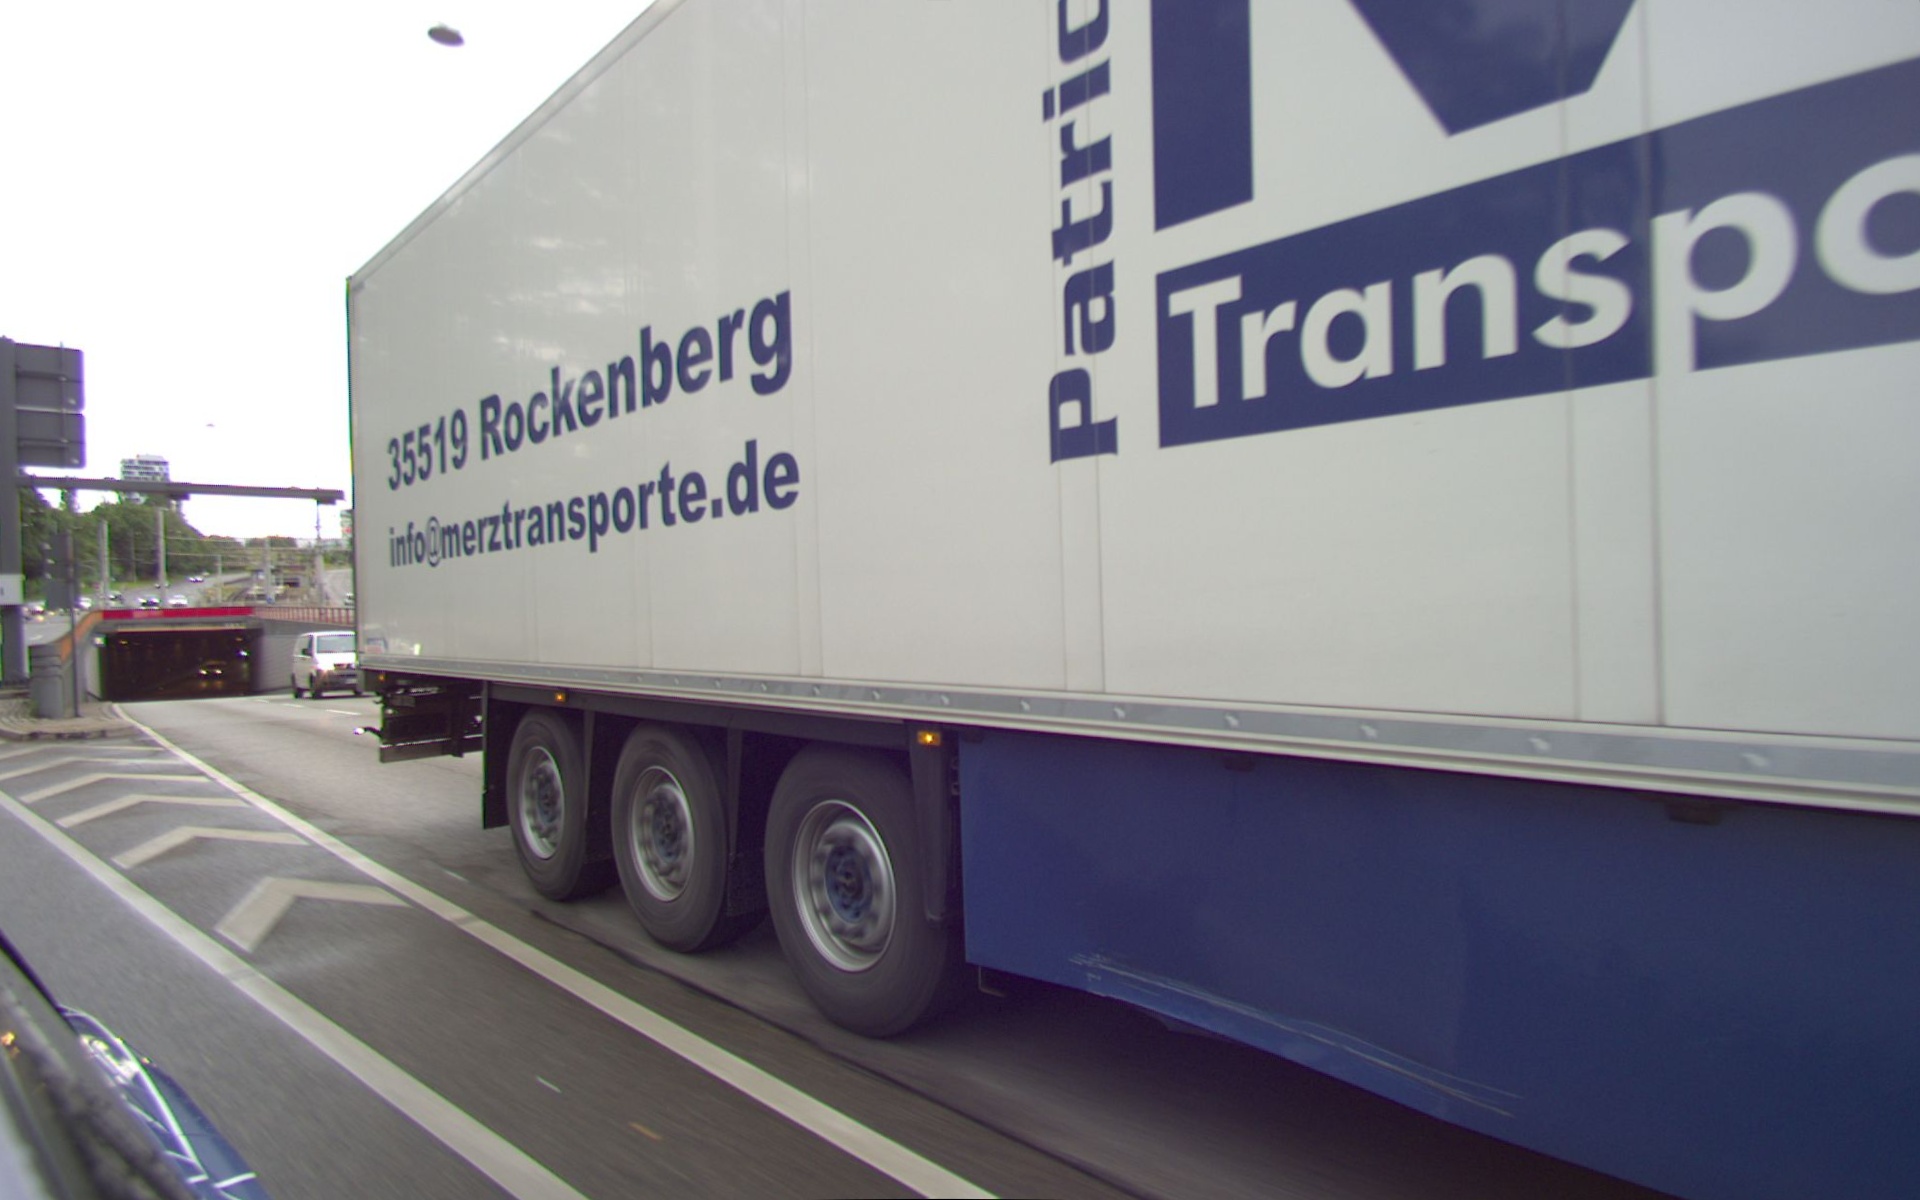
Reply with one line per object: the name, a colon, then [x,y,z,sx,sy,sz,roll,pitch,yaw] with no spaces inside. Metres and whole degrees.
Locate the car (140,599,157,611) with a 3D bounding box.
car: [-112.624,0.658,140.460,1.774,1.482,4.008,-1,2,-38]

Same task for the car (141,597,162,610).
car: [-112.396,0.472,140.644,1.710,1.599,4.013,-1,2,-30]

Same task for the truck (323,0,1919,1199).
truck: [0.672,-0.620,4.005,2.730,4.229,13.039,1,-2,-44]

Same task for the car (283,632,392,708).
car: [-18.690,2.113,30.282,1.969,2.042,4.692,-1,-4,-41]

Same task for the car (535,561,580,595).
car: [-35.639,-1.897,89.608,1.968,2.853,5.727,2,-1,-40]

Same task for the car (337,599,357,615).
car: [-84.355,0.929,139.300,1.967,2.028,4.010,-1,3,-36]

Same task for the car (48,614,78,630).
car: [-99.672,2.421,112.456,1.710,1.599,4.013,-1,2,-30]
